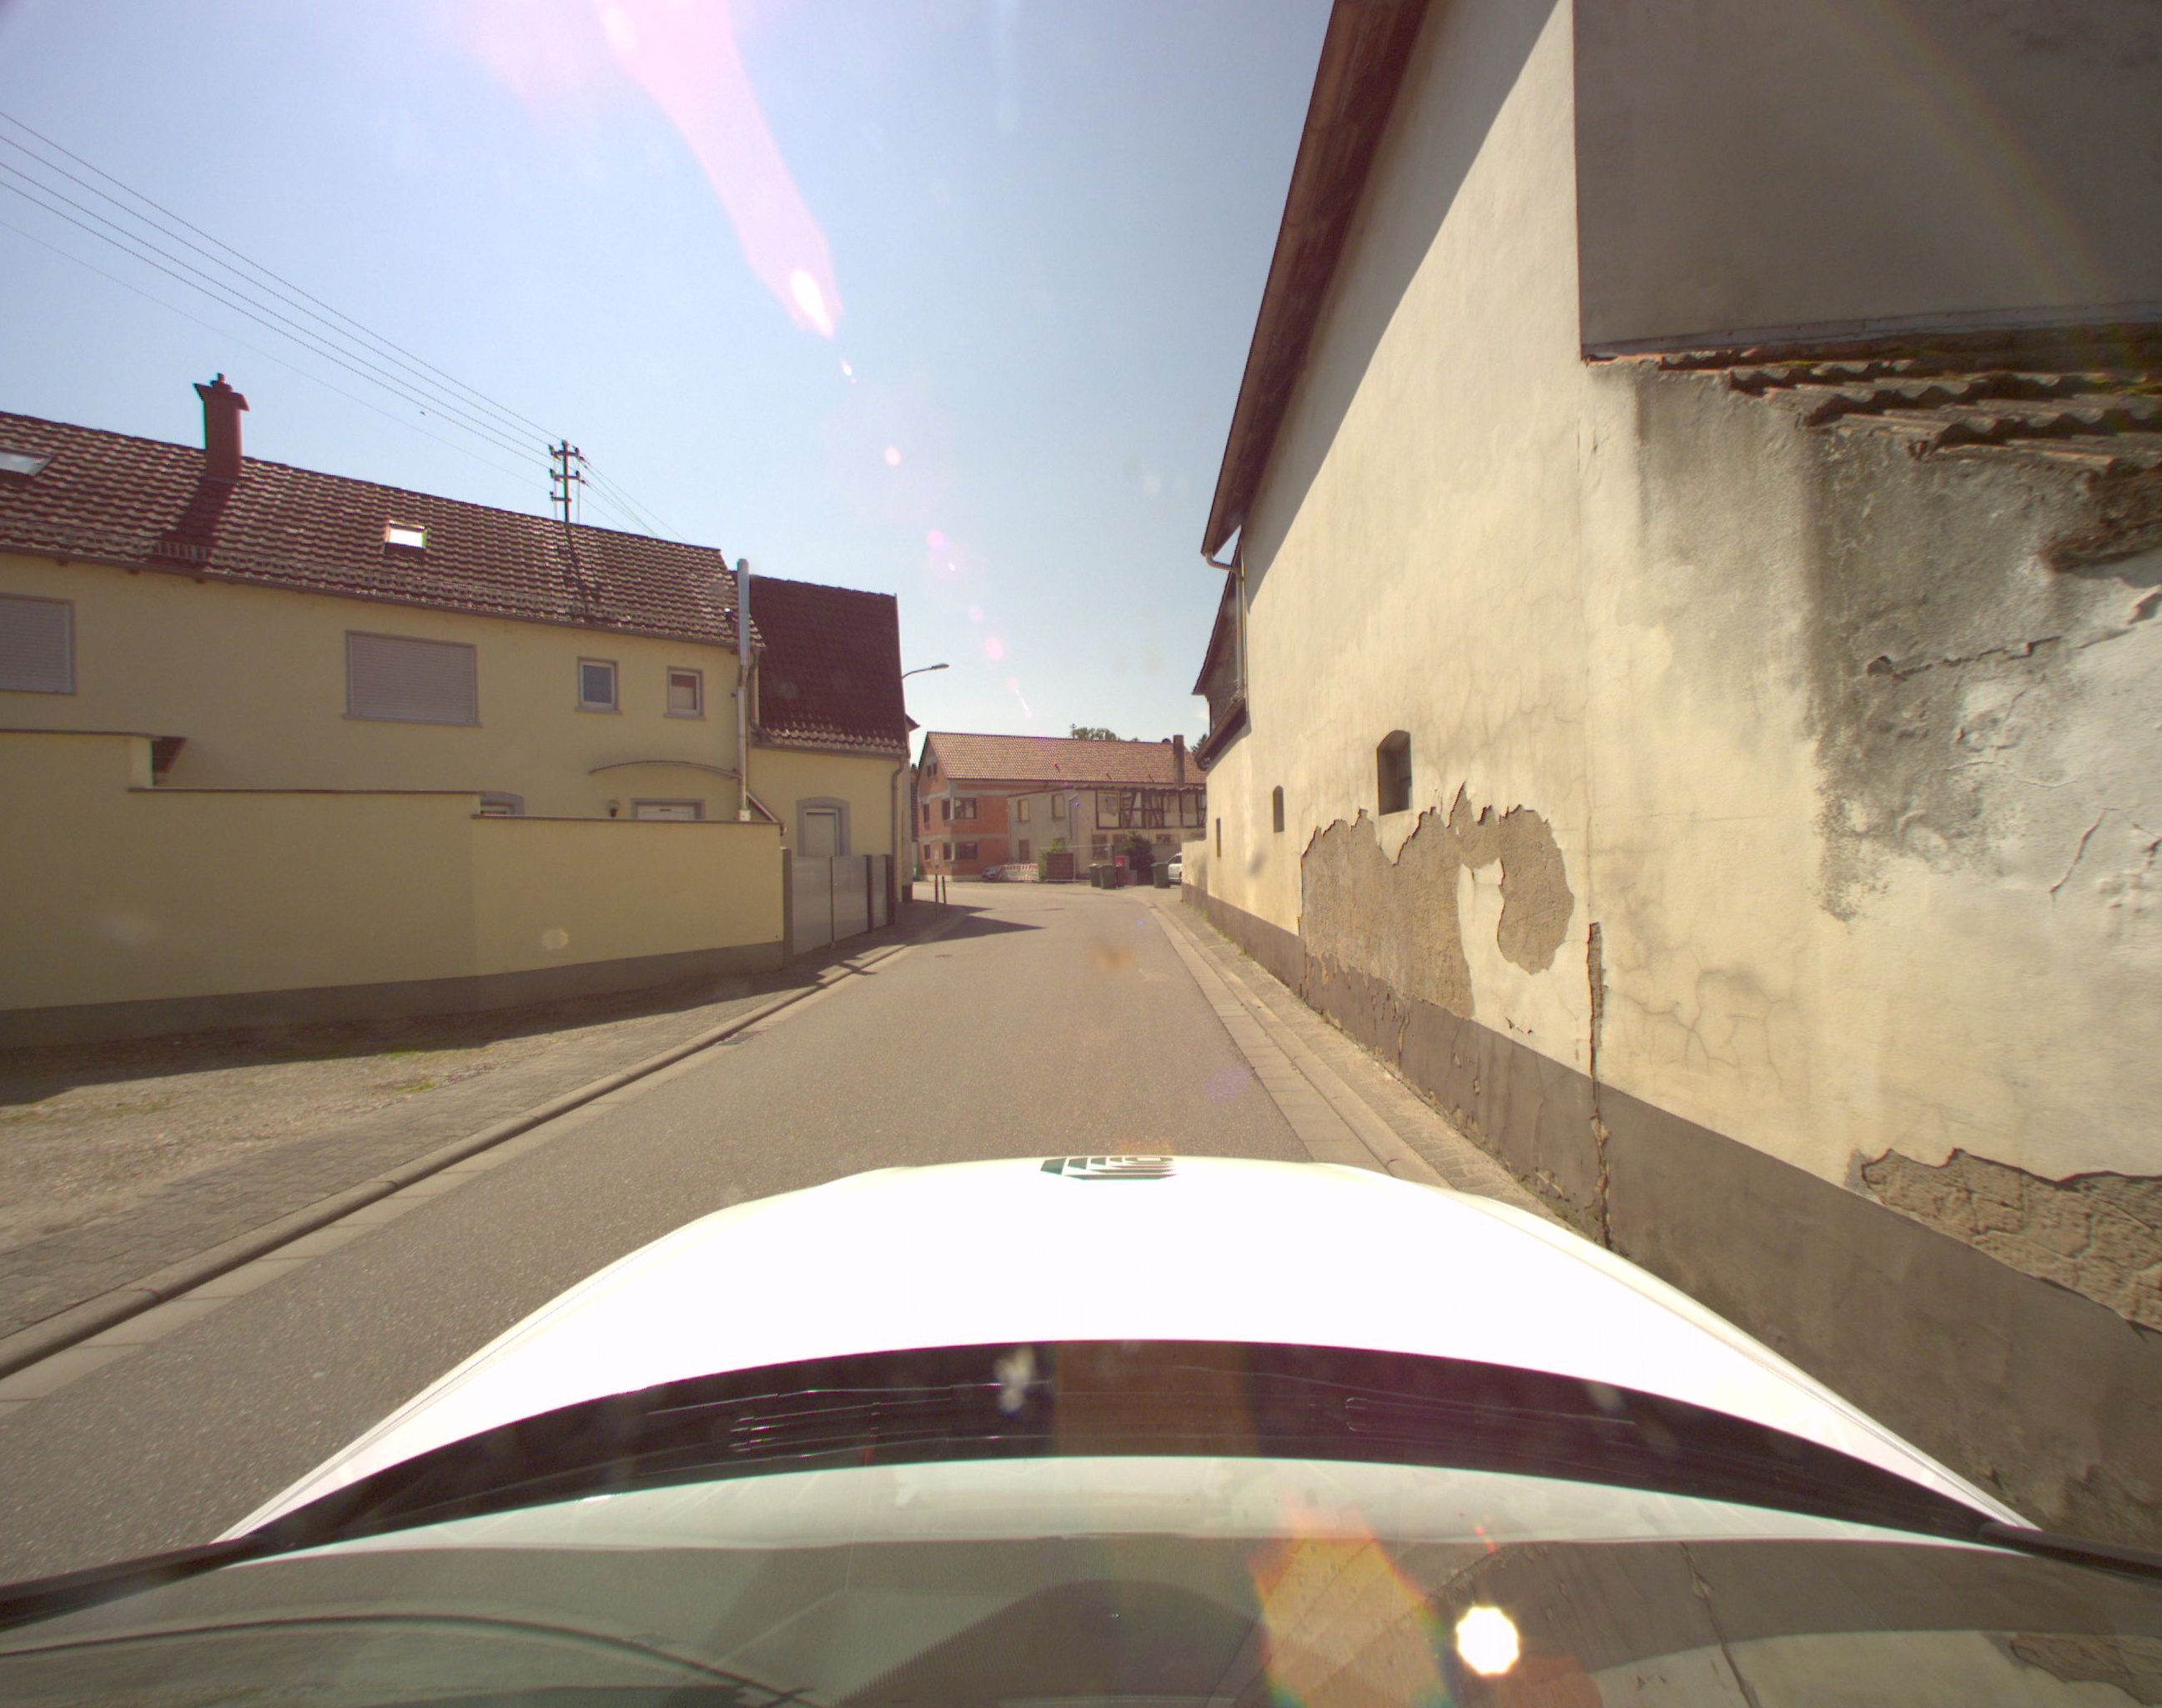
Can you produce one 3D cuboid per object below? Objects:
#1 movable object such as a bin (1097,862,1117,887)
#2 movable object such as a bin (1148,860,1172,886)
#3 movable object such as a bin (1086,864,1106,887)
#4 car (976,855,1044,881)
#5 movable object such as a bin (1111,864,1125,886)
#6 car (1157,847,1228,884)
[{"bbox_3d":[1.151,0.887,35.974,0.689,1.092,0.633,-1,0,-21],"label":"movable object such as a bin"},{"bbox_3d":[3.380,0.819,34.851,0.723,1.081,0.749,-1,0,-24],"label":"movable object such as a bin"},{"bbox_3d":[0.710,1.000,38.236,0.664,1.072,0.766,-1,0,29],"label":"movable object such as a bin"},{"bbox_3d":[-4.733,0.930,54.305,4.118,1.507,1.850,-2,0,-34],"label":"car"},{"bbox_3d":[1.690,0.950,37.313,0.466,0.970,0.492,-1,0,-22],"label":"movable object such as a bin"},{"bbox_3d":[5.051,0.497,37.549,1.813,1.528,4.277,-2,0,-13],"label":"car"}]
